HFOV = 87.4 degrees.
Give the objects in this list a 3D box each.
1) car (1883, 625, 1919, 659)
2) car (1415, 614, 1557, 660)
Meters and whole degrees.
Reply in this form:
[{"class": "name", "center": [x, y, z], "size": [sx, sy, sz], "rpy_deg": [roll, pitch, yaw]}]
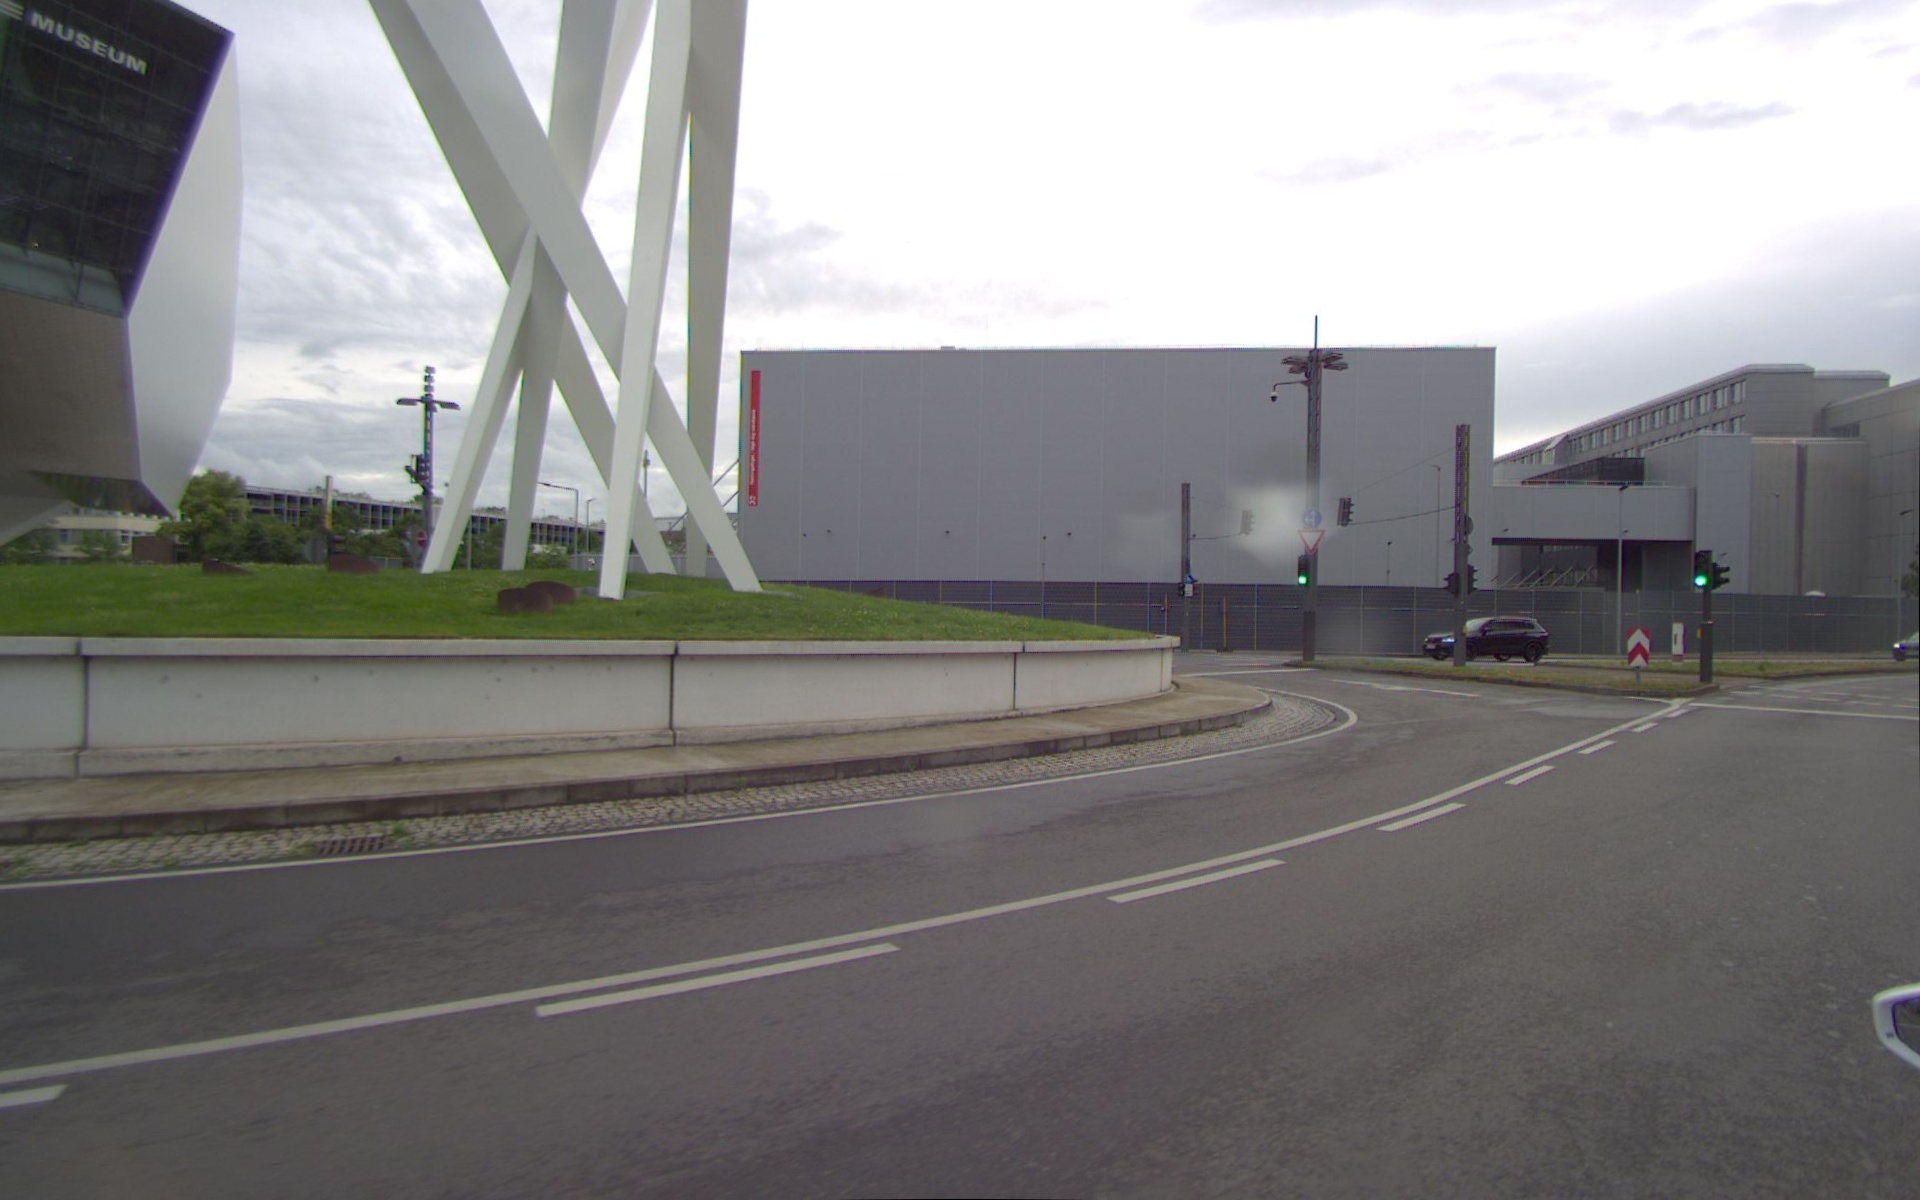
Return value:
[{"class": "car", "center": [43.435, 1.853, 44.698], "size": [4.330, 1.459, 1.780], "rpy_deg": [1, -1, -21]}, {"class": "car", "center": [19.418, 1.362, 37.171], "size": [4.483, 1.609, 1.786], "rpy_deg": [1, 0, -9]}]
